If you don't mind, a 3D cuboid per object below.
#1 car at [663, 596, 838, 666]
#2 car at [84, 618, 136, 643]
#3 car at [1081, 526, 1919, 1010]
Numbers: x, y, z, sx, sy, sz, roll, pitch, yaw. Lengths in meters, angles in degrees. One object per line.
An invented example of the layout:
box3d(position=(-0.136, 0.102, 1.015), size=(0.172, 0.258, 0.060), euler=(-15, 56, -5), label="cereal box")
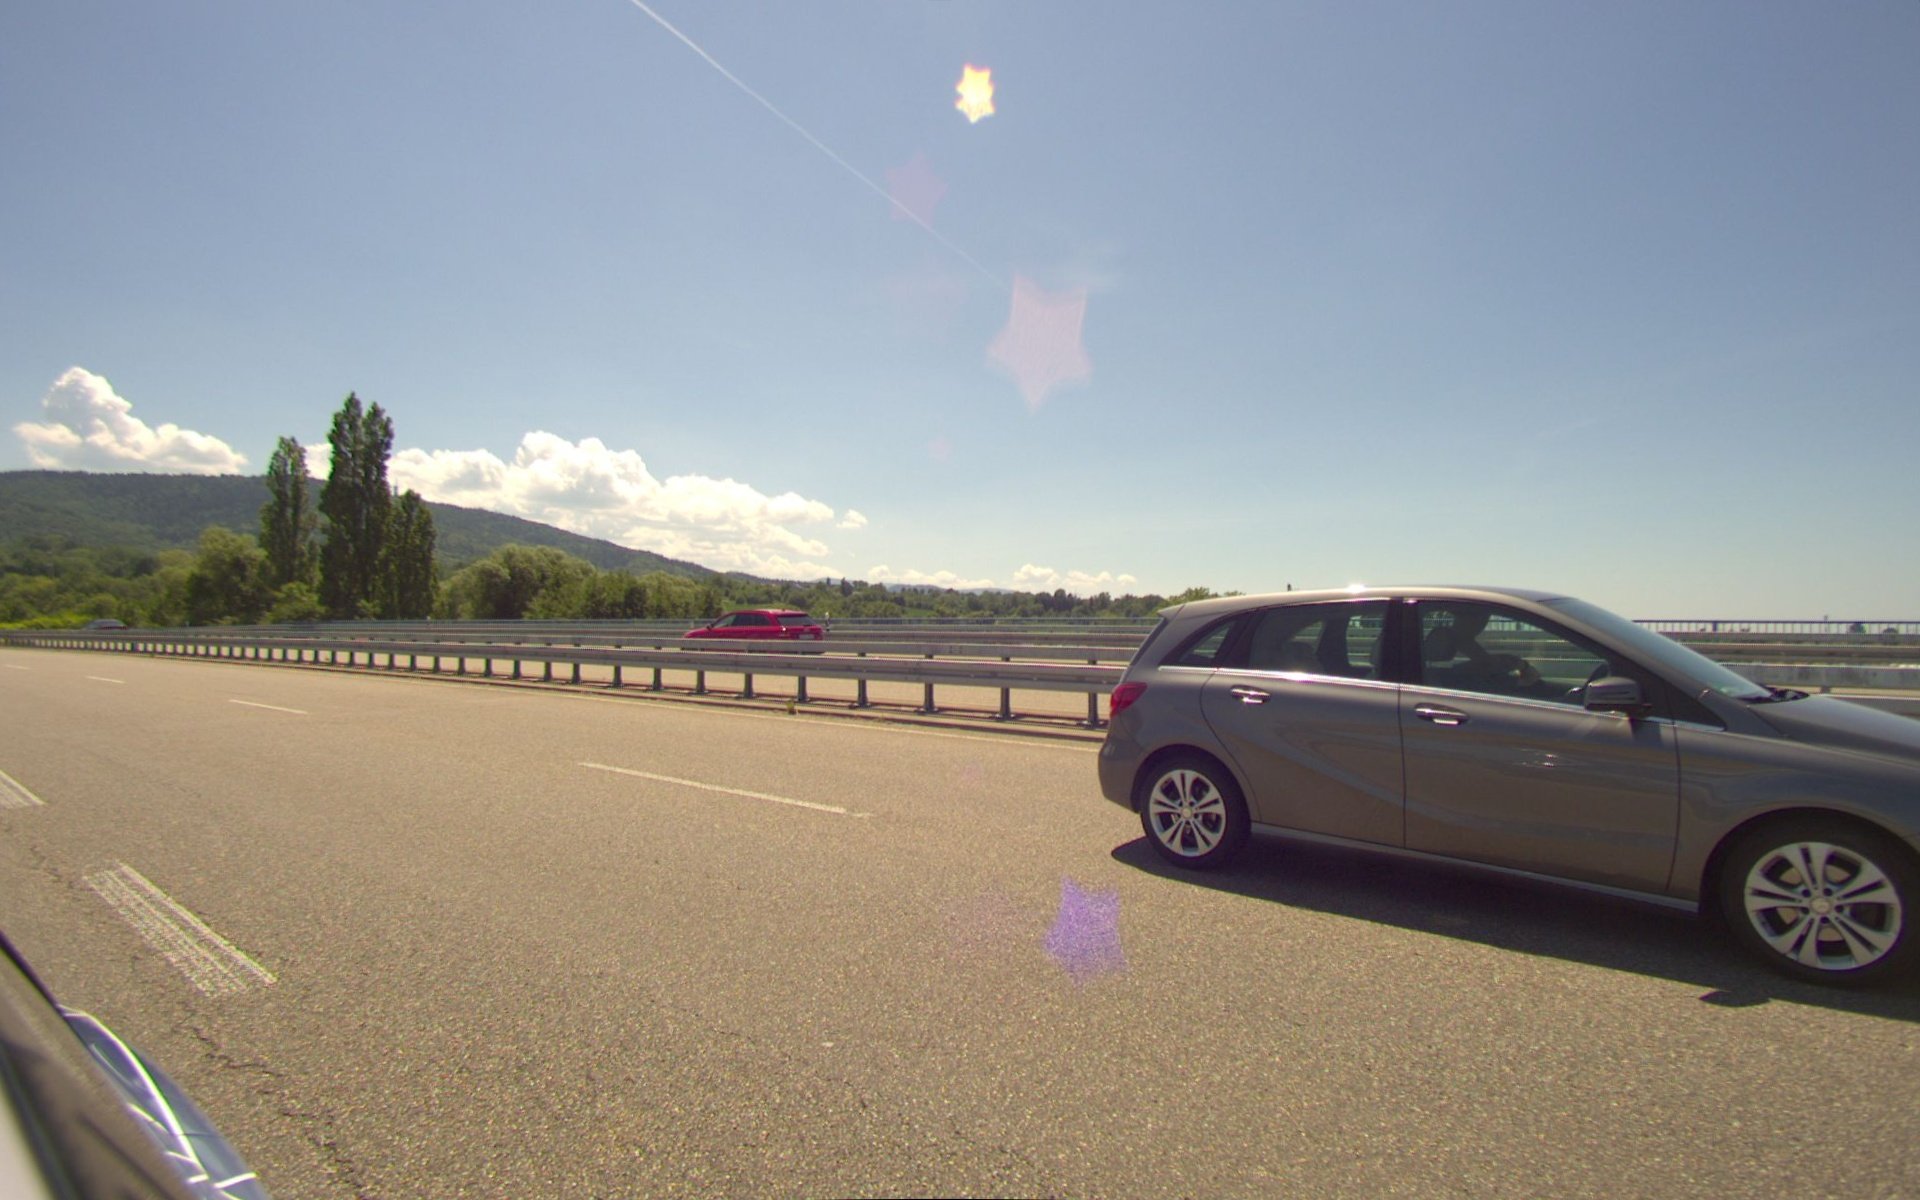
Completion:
box3d(position=(-5.612, 0.770, 26.771), size=(5.047, 1.680, 1.824), euler=(-1, -1, 40), label="car")
box3d(position=(-59.197, 2.107, 70.484), size=(5.045, 1.680, 1.825), euler=(0, -1, 39), label="car")
box3d(position=(2.980, 0.608, 5.070), size=(4.554, 1.680, 1.773), euler=(-1, -1, 43), label="car")
